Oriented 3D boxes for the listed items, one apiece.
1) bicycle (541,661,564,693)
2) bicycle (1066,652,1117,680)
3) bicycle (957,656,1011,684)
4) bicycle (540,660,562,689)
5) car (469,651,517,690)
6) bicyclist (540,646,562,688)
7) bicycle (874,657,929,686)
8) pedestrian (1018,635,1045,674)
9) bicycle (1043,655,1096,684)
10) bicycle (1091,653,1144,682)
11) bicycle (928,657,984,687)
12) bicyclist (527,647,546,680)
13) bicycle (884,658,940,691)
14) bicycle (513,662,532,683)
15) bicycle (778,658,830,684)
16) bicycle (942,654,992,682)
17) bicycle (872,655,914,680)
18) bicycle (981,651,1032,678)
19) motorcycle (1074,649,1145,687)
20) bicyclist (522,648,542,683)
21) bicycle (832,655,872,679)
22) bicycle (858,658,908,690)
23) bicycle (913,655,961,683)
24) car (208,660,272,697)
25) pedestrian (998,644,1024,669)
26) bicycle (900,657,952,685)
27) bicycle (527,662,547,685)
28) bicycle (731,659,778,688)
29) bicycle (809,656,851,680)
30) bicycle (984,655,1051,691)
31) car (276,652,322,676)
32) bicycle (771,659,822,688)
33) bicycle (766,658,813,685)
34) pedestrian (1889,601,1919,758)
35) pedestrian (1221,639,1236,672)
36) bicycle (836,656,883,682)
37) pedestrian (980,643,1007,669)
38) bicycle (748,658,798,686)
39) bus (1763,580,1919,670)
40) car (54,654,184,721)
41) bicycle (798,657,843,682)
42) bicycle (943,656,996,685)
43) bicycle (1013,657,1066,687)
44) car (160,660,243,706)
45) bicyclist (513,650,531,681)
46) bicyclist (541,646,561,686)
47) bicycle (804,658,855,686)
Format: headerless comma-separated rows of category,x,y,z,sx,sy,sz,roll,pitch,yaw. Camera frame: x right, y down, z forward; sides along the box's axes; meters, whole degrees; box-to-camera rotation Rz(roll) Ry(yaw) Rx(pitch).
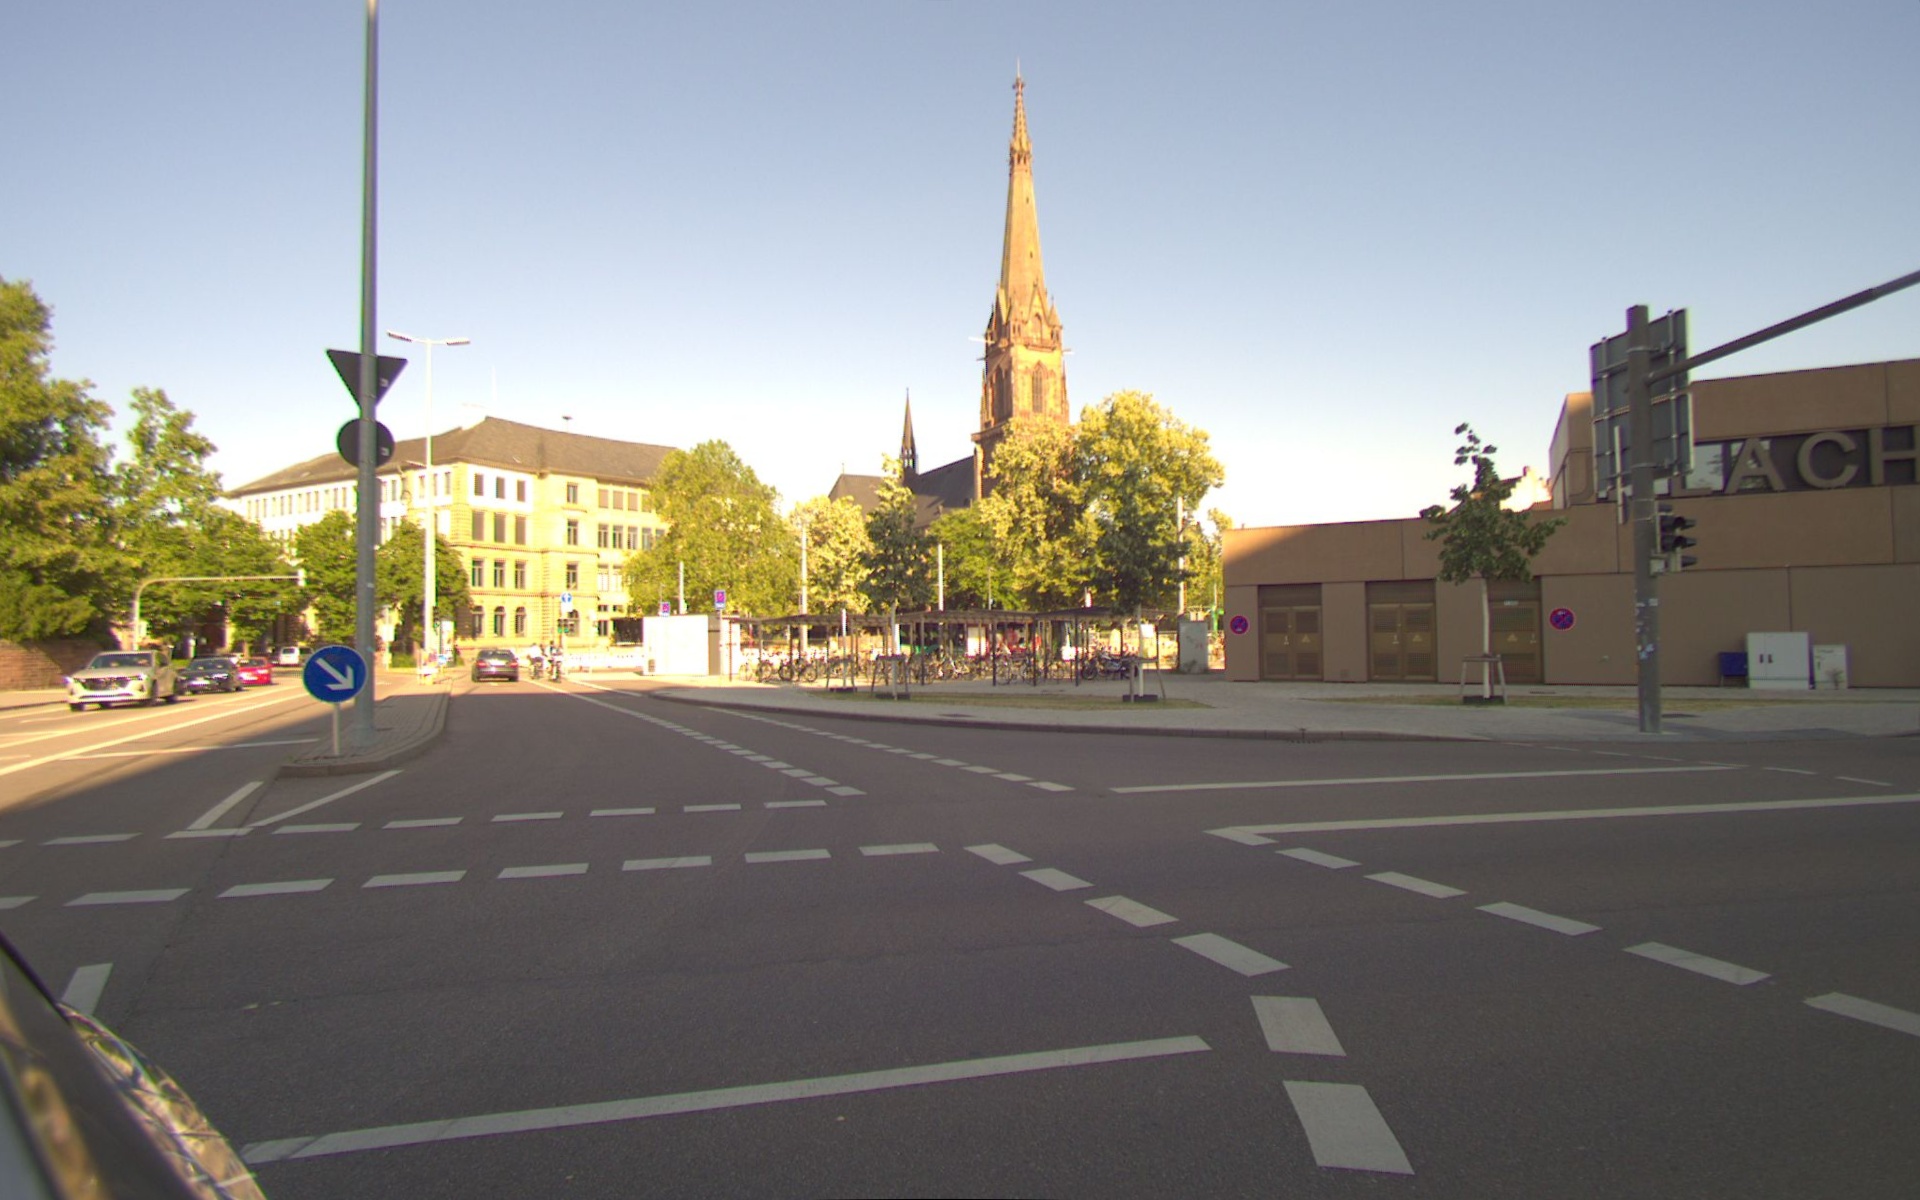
bicycle,-16.734,3.122,41.499,0.752,1.196,2.614,-2,-2,-24
bicycle,5.266,2.632,40.570,1.922,1.051,0.518,-2,-1,27
bicycle,0.937,2.780,40.327,2.097,1.051,0.599,-2,-1,27
bicycle,-17.964,3.254,44.438,0.752,1.196,2.614,-2,-2,-24
car,-20.245,3.026,43.810,1.775,1.455,3.991,0,-1,-26
bicyclist,-16.763,2.742,41.514,0.752,1.681,1.065,-2,-2,-24
bicycle,-2.263,2.755,38.927,1.921,1.051,0.858,-2,-1,26
pedestrian,3.955,3.002,55.807,1.026,2.029,1.123,-3,-2,31
bicycle,4.161,2.627,38.579,1.922,1.051,0.518,-2,-1,27
bicycle,5.855,2.508,37.626,1.837,1.051,0.518,-2,-1,25
bicycle,-0.159,2.682,37.965,2.025,1.051,0.598,-2,-1,29
bicyclist,-21.957,3.294,52.506,0.851,1.666,0.947,0,-3,-18
bicycle,-1.698,2.625,35.931,1.964,1.114,0.561,-2,-1,28
bicycle,-24.400,4.045,56.443,0.867,1.106,2.195,0,-3,-21
bicycle,-6.670,3.025,43.191,2.108,1.062,0.830,-2,-1,26
bicycle,0.282,2.808,42.038,2.061,1.097,0.561,-2,-1,27
bicycle,-3.028,3.023,45.508,1.965,1.062,0.414,-2,-1,30
bicycle,1.955,2.715,42.497,2.061,1.097,0.561,-2,-1,27
motorcycle,5.277,2.418,35.751,2.347,1.257,0.712,-3,-2,30
bicyclist,-20.649,3.151,48.840,0.851,1.666,0.947,0,-3,-21
bicycle,-4.953,3.056,46.286,1.965,1.062,0.414,-2,-1,30
bicycle,-2.824,2.704,36.967,1.789,1.114,0.482,-1,-1,22
bicycle,-0.939,2.807,41.345,1.922,1.097,0.531,-2,-1,27
car,-36.182,3.920,50.985,2.158,1.598,4.620,-2,-2,-30
pedestrian,2.897,3.220,57.573,1.075,1.359,1.042,-3,-2,31
bicycle,-1.349,2.794,40.064,1.921,1.051,0.760,-2,-1,26
bicycle,-21.939,3.789,52.525,0.867,1.106,2.195,0,-3,-21
bicycle,-7.991,2.857,39.287,1.968,1.062,0.560,-2,-1,34
bicycle,-5.933,3.096,46.179,1.962,1.062,0.493,-2,-1,25
bicycle,1.924,2.454,33.998,2.112,1.114,0.739,-3,-2,25
car,-64.973,6.260,99.556,1.971,2.029,4.154,-1,1,-2
bicycle,-6.298,2.819,38.869,1.962,1.062,0.562,-2,-1,26
bicycle,-7.014,2.942,41.597,1.928,1.062,0.676,-2,-1,29
pedestrian,11.196,0.883,11.241,0.775,1.754,0.929,0,-3,-8
pedestrian,13.919,2.865,52.426,0.536,1.700,0.485,1,-3,-25
bicycle,-4.303,2.941,43.304,1.962,1.062,0.562,-2,-1,26
pedestrian,1.886,3.126,56.763,1.075,1.359,1.042,-3,-2,31
bicycle,-7.538,2.901,40.786,2.014,1.062,0.676,-2,-1,29
bus,39.349,1.047,39.459,12.133,3.343,3.218,0,-5,29
car,-24.637,2.495,29.837,2.158,1.697,4.620,-1,-2,-30
bicycle,-6.127,3.055,44.368,1.959,1.062,0.508,-1,-1,21
bicycle,0.366,2.718,38.939,2.027,1.051,0.598,-2,-1,32
bicycle,2.873,2.588,36.549,1.836,1.051,0.519,-2,-1,23
car,-30.578,3.295,40.937,2.158,1.598,4.620,-2,-2,-30
bicyclist,-24.298,3.619,56.182,0.851,1.666,0.947,0,-3,-21
bicyclist,-17.971,2.873,44.443,0.752,1.681,1.065,-2,-2,-24
bicycle,-5.237,2.872,40.700,1.964,1.062,0.751,-2,-1,28
